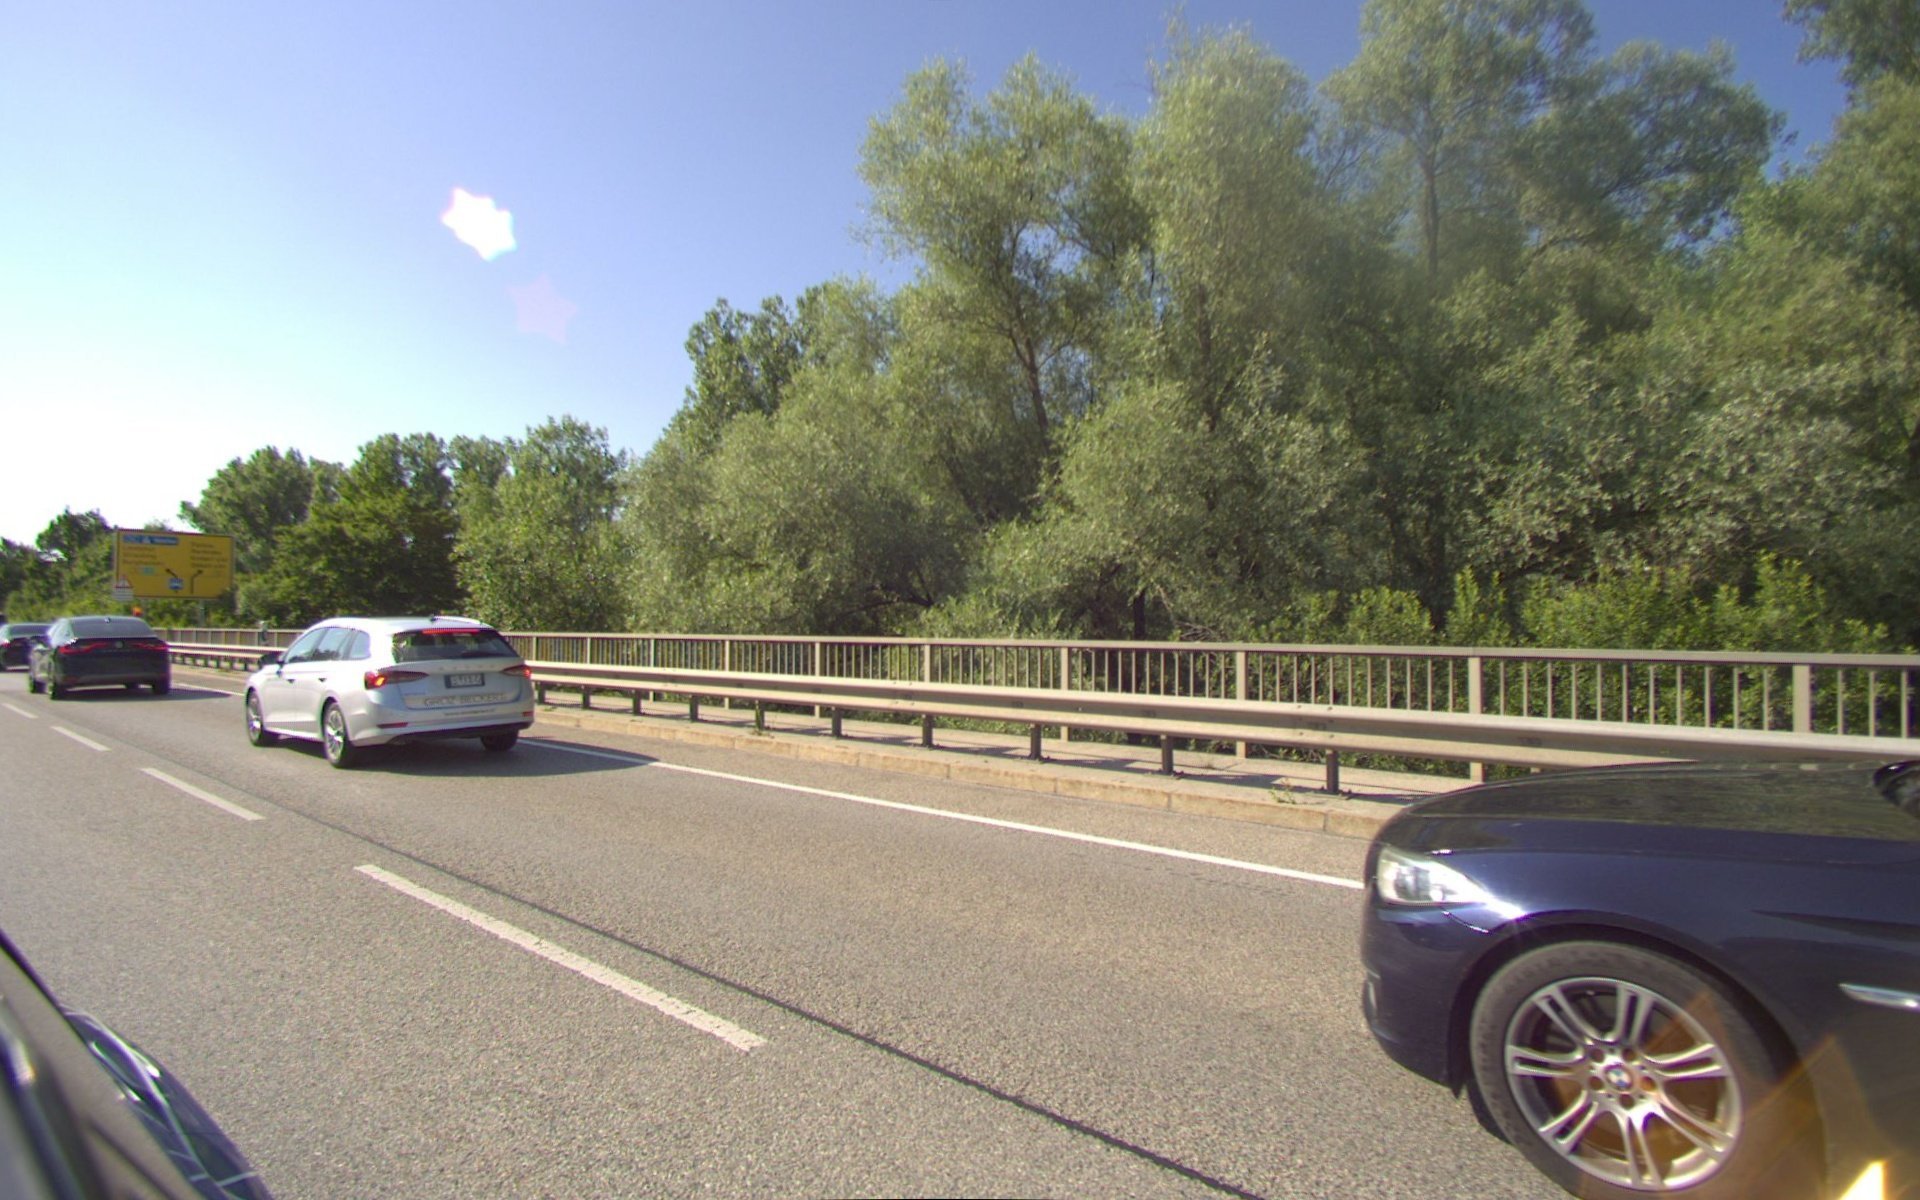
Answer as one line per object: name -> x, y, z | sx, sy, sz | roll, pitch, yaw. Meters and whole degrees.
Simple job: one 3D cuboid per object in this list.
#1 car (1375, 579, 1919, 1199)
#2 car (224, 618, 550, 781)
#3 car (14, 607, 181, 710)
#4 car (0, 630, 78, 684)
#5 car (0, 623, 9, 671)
car -> 3.451, 0.673, 1.881 | 4.648, 1.431, 1.768 | -1, -3, 41
car -> -6.431, 0.952, 11.130 | 4.484, 1.447, 1.713 | -2, -3, 41
car -> -17.238, 1.099, 20.154 | 4.529, 1.820, 1.946 | -2, -2, 42
car -> -28.081, 1.653, 30.373 | 4.270, 1.499, 1.869 | -2, -2, 41
car -> -38.170, 1.803, 38.911 | 4.529, 1.820, 1.946 | -2, -2, 42
